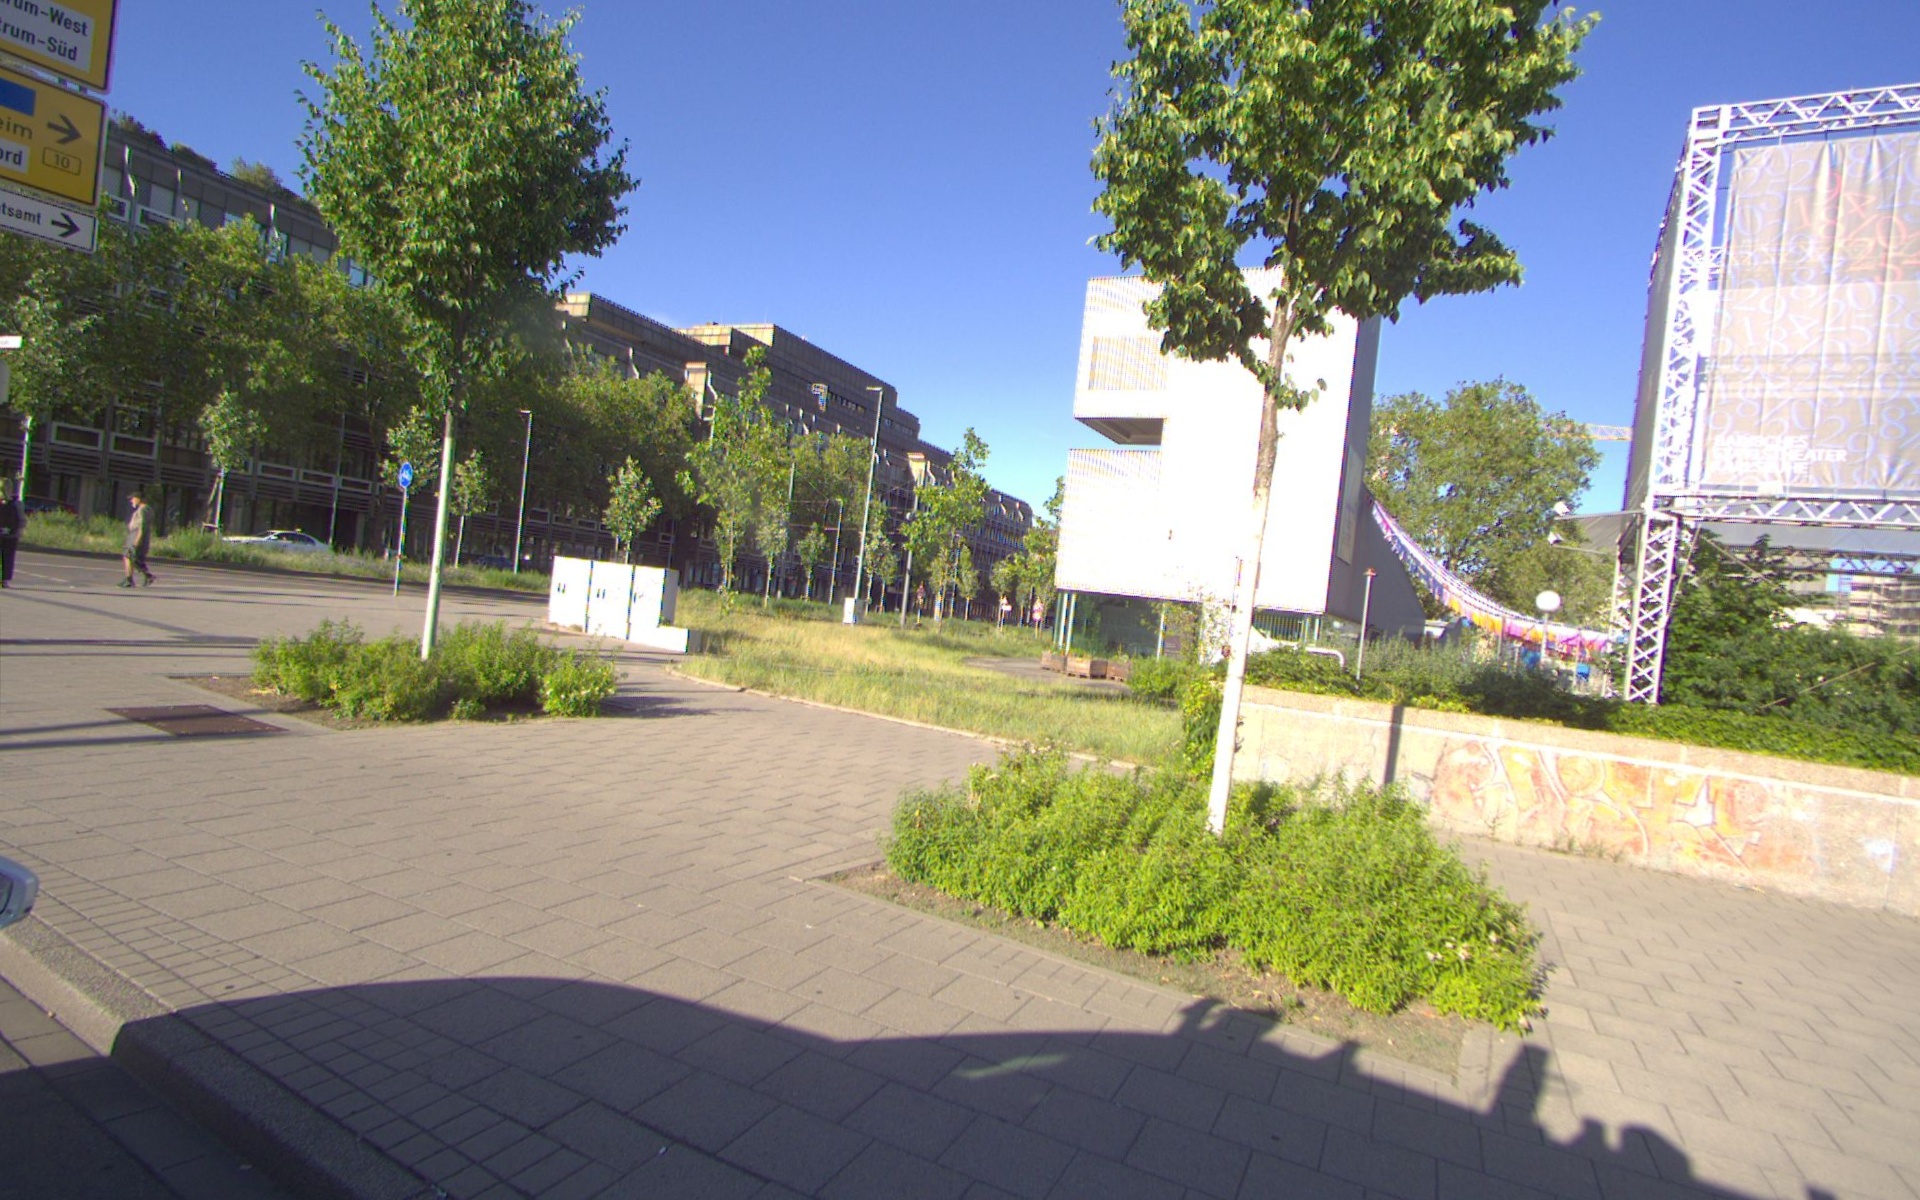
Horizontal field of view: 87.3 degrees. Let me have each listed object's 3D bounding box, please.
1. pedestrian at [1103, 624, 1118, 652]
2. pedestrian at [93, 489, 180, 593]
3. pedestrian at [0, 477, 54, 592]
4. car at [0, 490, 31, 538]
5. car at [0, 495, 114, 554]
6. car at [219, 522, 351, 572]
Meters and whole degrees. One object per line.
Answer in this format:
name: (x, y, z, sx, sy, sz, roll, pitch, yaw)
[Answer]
pedestrian: (9.096, 2.299, 60.985, 0.520, 1.571, 0.638, 7, -1, 31)
pedestrian: (-14.826, -1.055, 18.111, 0.755, 1.728, 0.873, 7, 1, 30)
pedestrian: (-14.233, -1.001, 14.972, 0.859, 1.634, 0.767, 7, 1, 30)
car: (-37.623, -3.487, 37.192, 1.794, 1.704, 4.412, 7, -1, 29)
car: (-33.156, -2.771, 35.727, 1.792, 1.704, 4.302, 7, -1, 21)
car: (-32.031, -2.480, 47.908, 1.794, 1.704, 4.854, 7, -1, 28)
